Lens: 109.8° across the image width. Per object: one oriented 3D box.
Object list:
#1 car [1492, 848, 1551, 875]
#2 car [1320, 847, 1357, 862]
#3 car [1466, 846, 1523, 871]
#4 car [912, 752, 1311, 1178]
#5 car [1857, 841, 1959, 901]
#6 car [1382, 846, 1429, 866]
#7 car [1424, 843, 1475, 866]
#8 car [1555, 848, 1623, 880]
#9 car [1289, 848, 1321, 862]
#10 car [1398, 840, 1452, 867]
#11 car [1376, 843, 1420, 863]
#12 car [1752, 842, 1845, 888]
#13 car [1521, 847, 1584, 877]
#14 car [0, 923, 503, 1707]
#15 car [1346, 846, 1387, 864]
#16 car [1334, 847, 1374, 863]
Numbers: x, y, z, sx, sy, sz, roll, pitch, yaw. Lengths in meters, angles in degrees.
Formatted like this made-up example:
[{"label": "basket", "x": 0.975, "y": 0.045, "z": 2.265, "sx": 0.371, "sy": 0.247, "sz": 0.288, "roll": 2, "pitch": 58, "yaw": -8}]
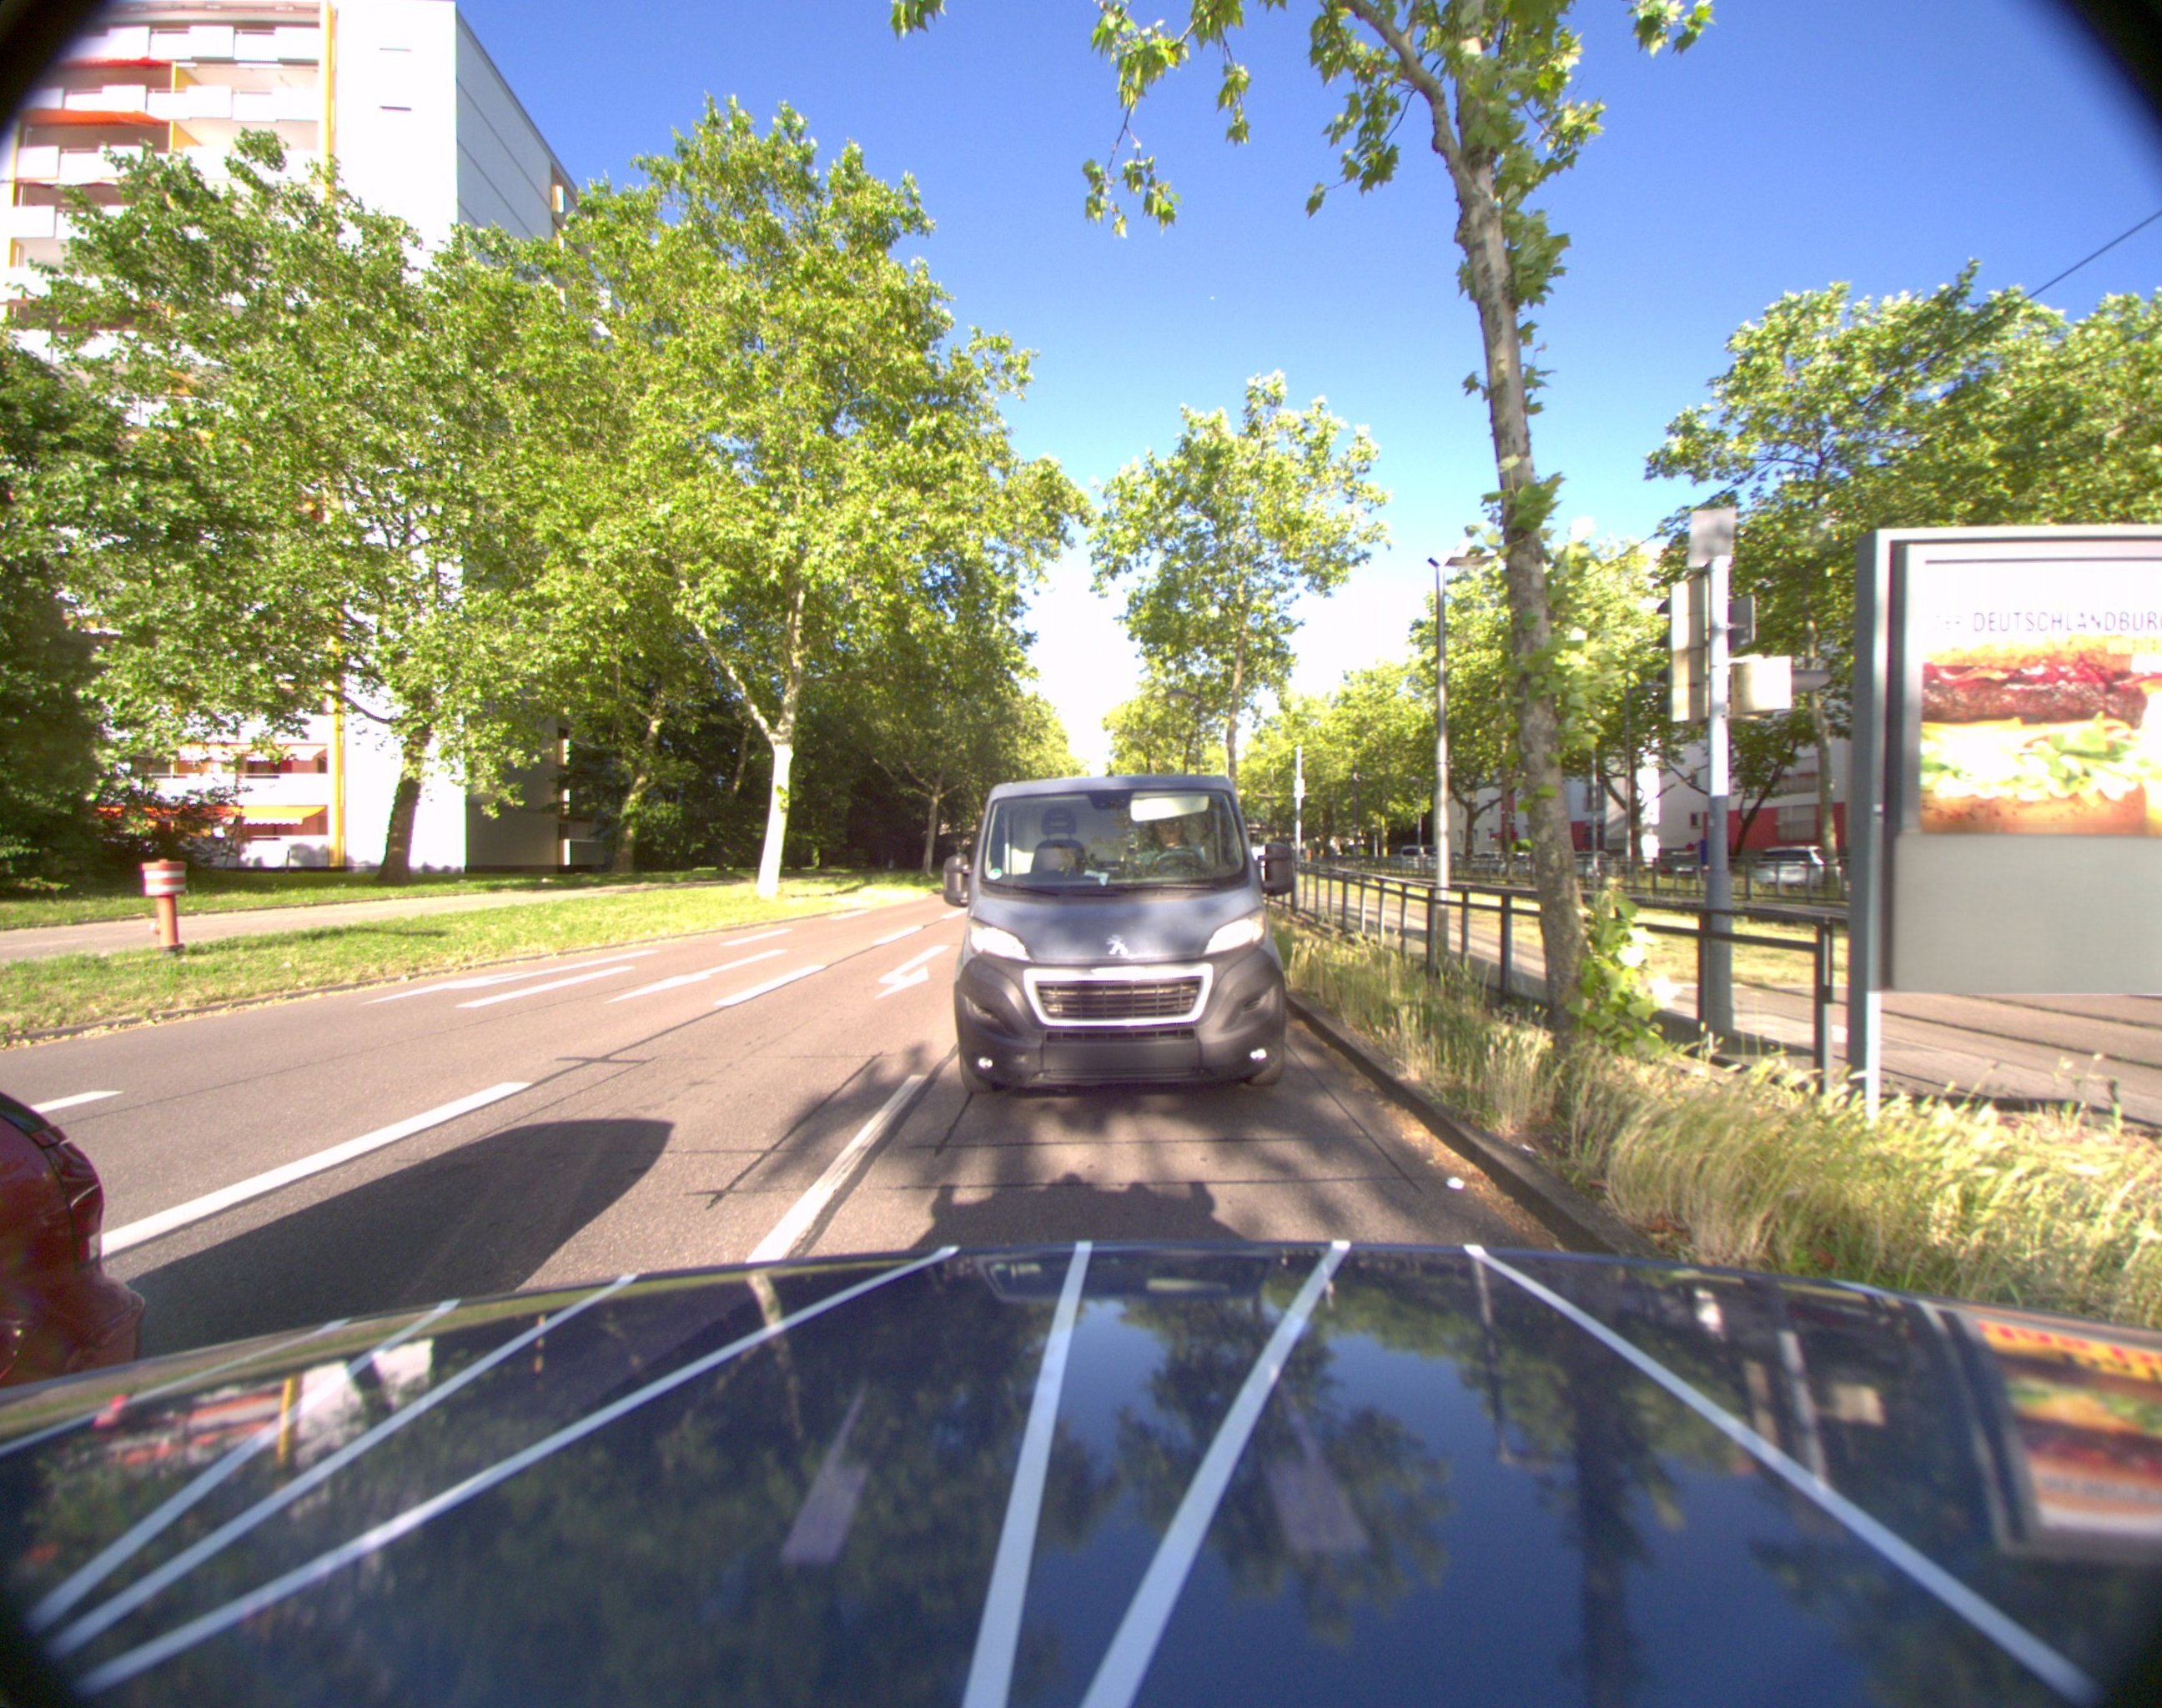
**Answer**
[{"label": "car", "x": 26.072, "y": 0.417, "z": 44.932, "sx": 4.057, "sy": 1.490, "sz": 1.791, "roll": -1, "pitch": 0, "yaw": -41}, {"label": "car", "x": 26.925, "y": 0.061, "z": 79.365, "sx": 4.057, "sy": 1.490, "sz": 1.791, "roll": -1, "pitch": 0, "yaw": -41}, {"label": "car", "x": 25.989, "y": 0.279, "z": 47.683, "sx": 4.057, "sy": 1.490, "sz": 1.791, "roll": -1, "pitch": 0, "yaw": -41}, {"label": "car", "x": 0.201, "y": 0.565, "z": 6.781, "sx": 2.040, "sy": 2.191, "sz": 5.661, "roll": -1, "pitch": 0, "yaw": 1}, {"label": "car", "x": 25.265, "y": 0.481, "z": 23.179, "sx": 4.057, "sy": 1.654, "sz": 1.791, "roll": -1, "pitch": 0, "yaw": -38}, {"label": "car", "x": 25.803, "y": 0.141, "z": 60.391, "sx": 4.057, "sy": 1.490, "sz": 1.791, "roll": -1, "pitch": 0, "yaw": -41}, {"label": "car", "x": 26.286, "y": 0.024, "z": 54.159, "sx": 4.057, "sy": 1.490, "sz": 1.791, "roll": -1, "pitch": 0, "yaw": -41}, {"label": "car", "x": 25.390, "y": 0.473, "z": 37.922, "sx": 4.057, "sy": 1.490, "sz": 1.791, "roll": -1, "pitch": 0, "yaw": -41}, {"label": "car", "x": 26.567, "y": 0.090, "z": 90.094, "sx": 4.057, "sy": 1.490, "sz": 1.791, "roll": -1, "pitch": 0, "yaw": -41}, {"label": "car", "x": 25.864, "y": -0.067, "z": 57.040, "sx": 4.441, "sy": 1.908, "sz": 2.016, "roll": -1, "pitch": 0, "yaw": -41}, {"label": "car", "x": 26.580, "y": -0.090, "z": 63.679, "sx": 4.057, "sy": 1.490, "sz": 1.791, "roll": -1, "pitch": 0, "yaw": -41}, {"label": "car", "x": 25.240, "y": 0.358, "z": 26.684, "sx": 4.057, "sy": 1.490, "sz": 1.791, "roll": -1, "pitch": 0, "yaw": -38}, {"label": "car", "x": 25.924, "y": 0.429, "z": 41.736, "sx": 4.057, "sy": 1.490, "sz": 1.791, "roll": -1, "pitch": 0, "yaw": -41}, {"label": "car", "x": -2.982, "y": 1.023, "z": 0.288, "sx": 1.771, "sy": 1.549, "sz": 4.727, "roll": -1, "pitch": 0, "yaw": 2}, {"label": "car", "x": 26.071, "y": 0.096, "z": 69.329, "sx": 4.057, "sy": 1.490, "sz": 1.791, "roll": -1, "pitch": 0, "yaw": -41}, {"label": "car", "x": 26.153, "y": 0.093, "z": 72.706, "sx": 4.057, "sy": 1.490, "sz": 1.791, "roll": -1, "pitch": 0, "yaw": -41}]
